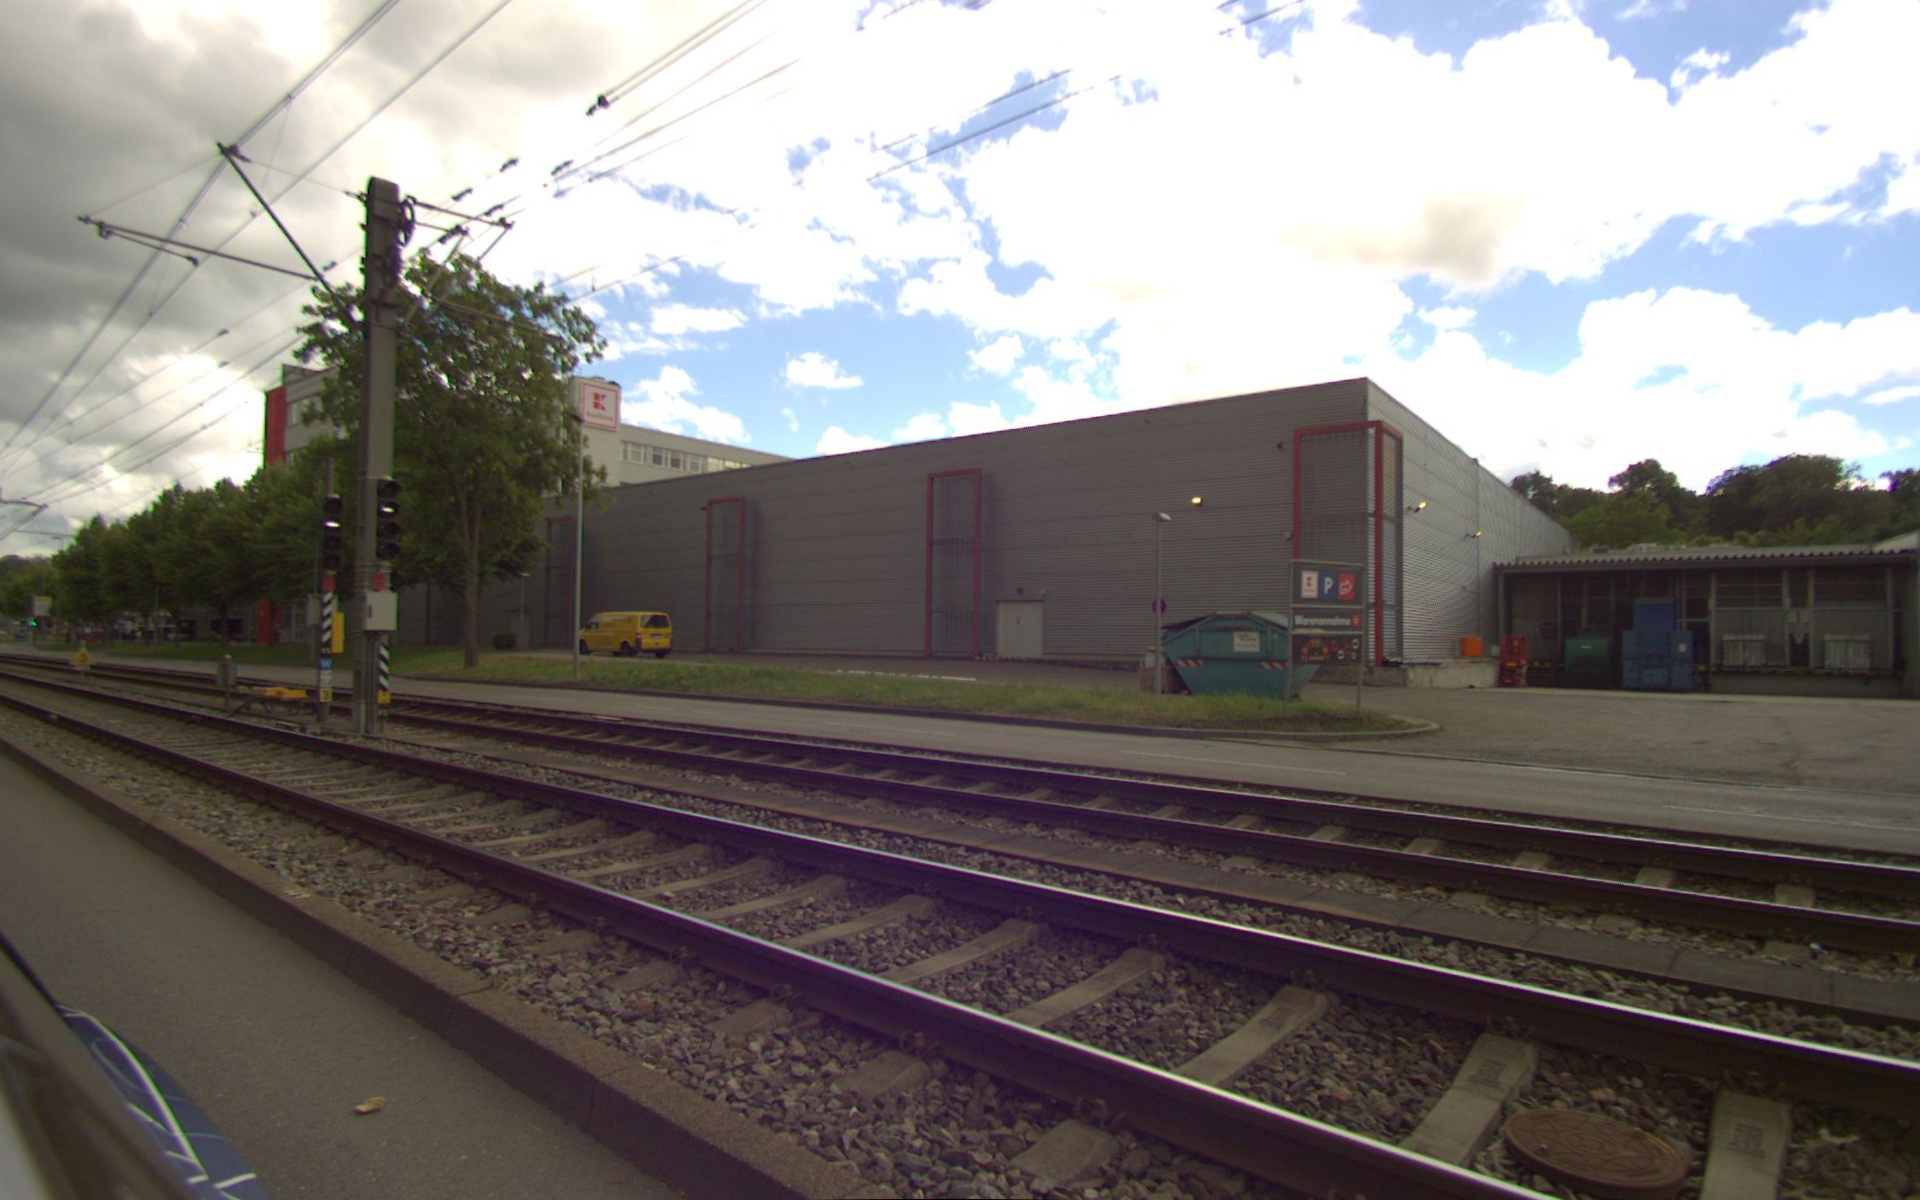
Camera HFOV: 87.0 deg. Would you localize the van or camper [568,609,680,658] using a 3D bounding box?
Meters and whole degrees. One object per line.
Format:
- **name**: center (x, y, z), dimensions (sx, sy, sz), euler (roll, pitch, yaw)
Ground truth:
- **van or camper**: center (-14.655, 1.466, 43.973), dimensions (5.235, 2.029, 2.083), euler (-2, -3, 38)
